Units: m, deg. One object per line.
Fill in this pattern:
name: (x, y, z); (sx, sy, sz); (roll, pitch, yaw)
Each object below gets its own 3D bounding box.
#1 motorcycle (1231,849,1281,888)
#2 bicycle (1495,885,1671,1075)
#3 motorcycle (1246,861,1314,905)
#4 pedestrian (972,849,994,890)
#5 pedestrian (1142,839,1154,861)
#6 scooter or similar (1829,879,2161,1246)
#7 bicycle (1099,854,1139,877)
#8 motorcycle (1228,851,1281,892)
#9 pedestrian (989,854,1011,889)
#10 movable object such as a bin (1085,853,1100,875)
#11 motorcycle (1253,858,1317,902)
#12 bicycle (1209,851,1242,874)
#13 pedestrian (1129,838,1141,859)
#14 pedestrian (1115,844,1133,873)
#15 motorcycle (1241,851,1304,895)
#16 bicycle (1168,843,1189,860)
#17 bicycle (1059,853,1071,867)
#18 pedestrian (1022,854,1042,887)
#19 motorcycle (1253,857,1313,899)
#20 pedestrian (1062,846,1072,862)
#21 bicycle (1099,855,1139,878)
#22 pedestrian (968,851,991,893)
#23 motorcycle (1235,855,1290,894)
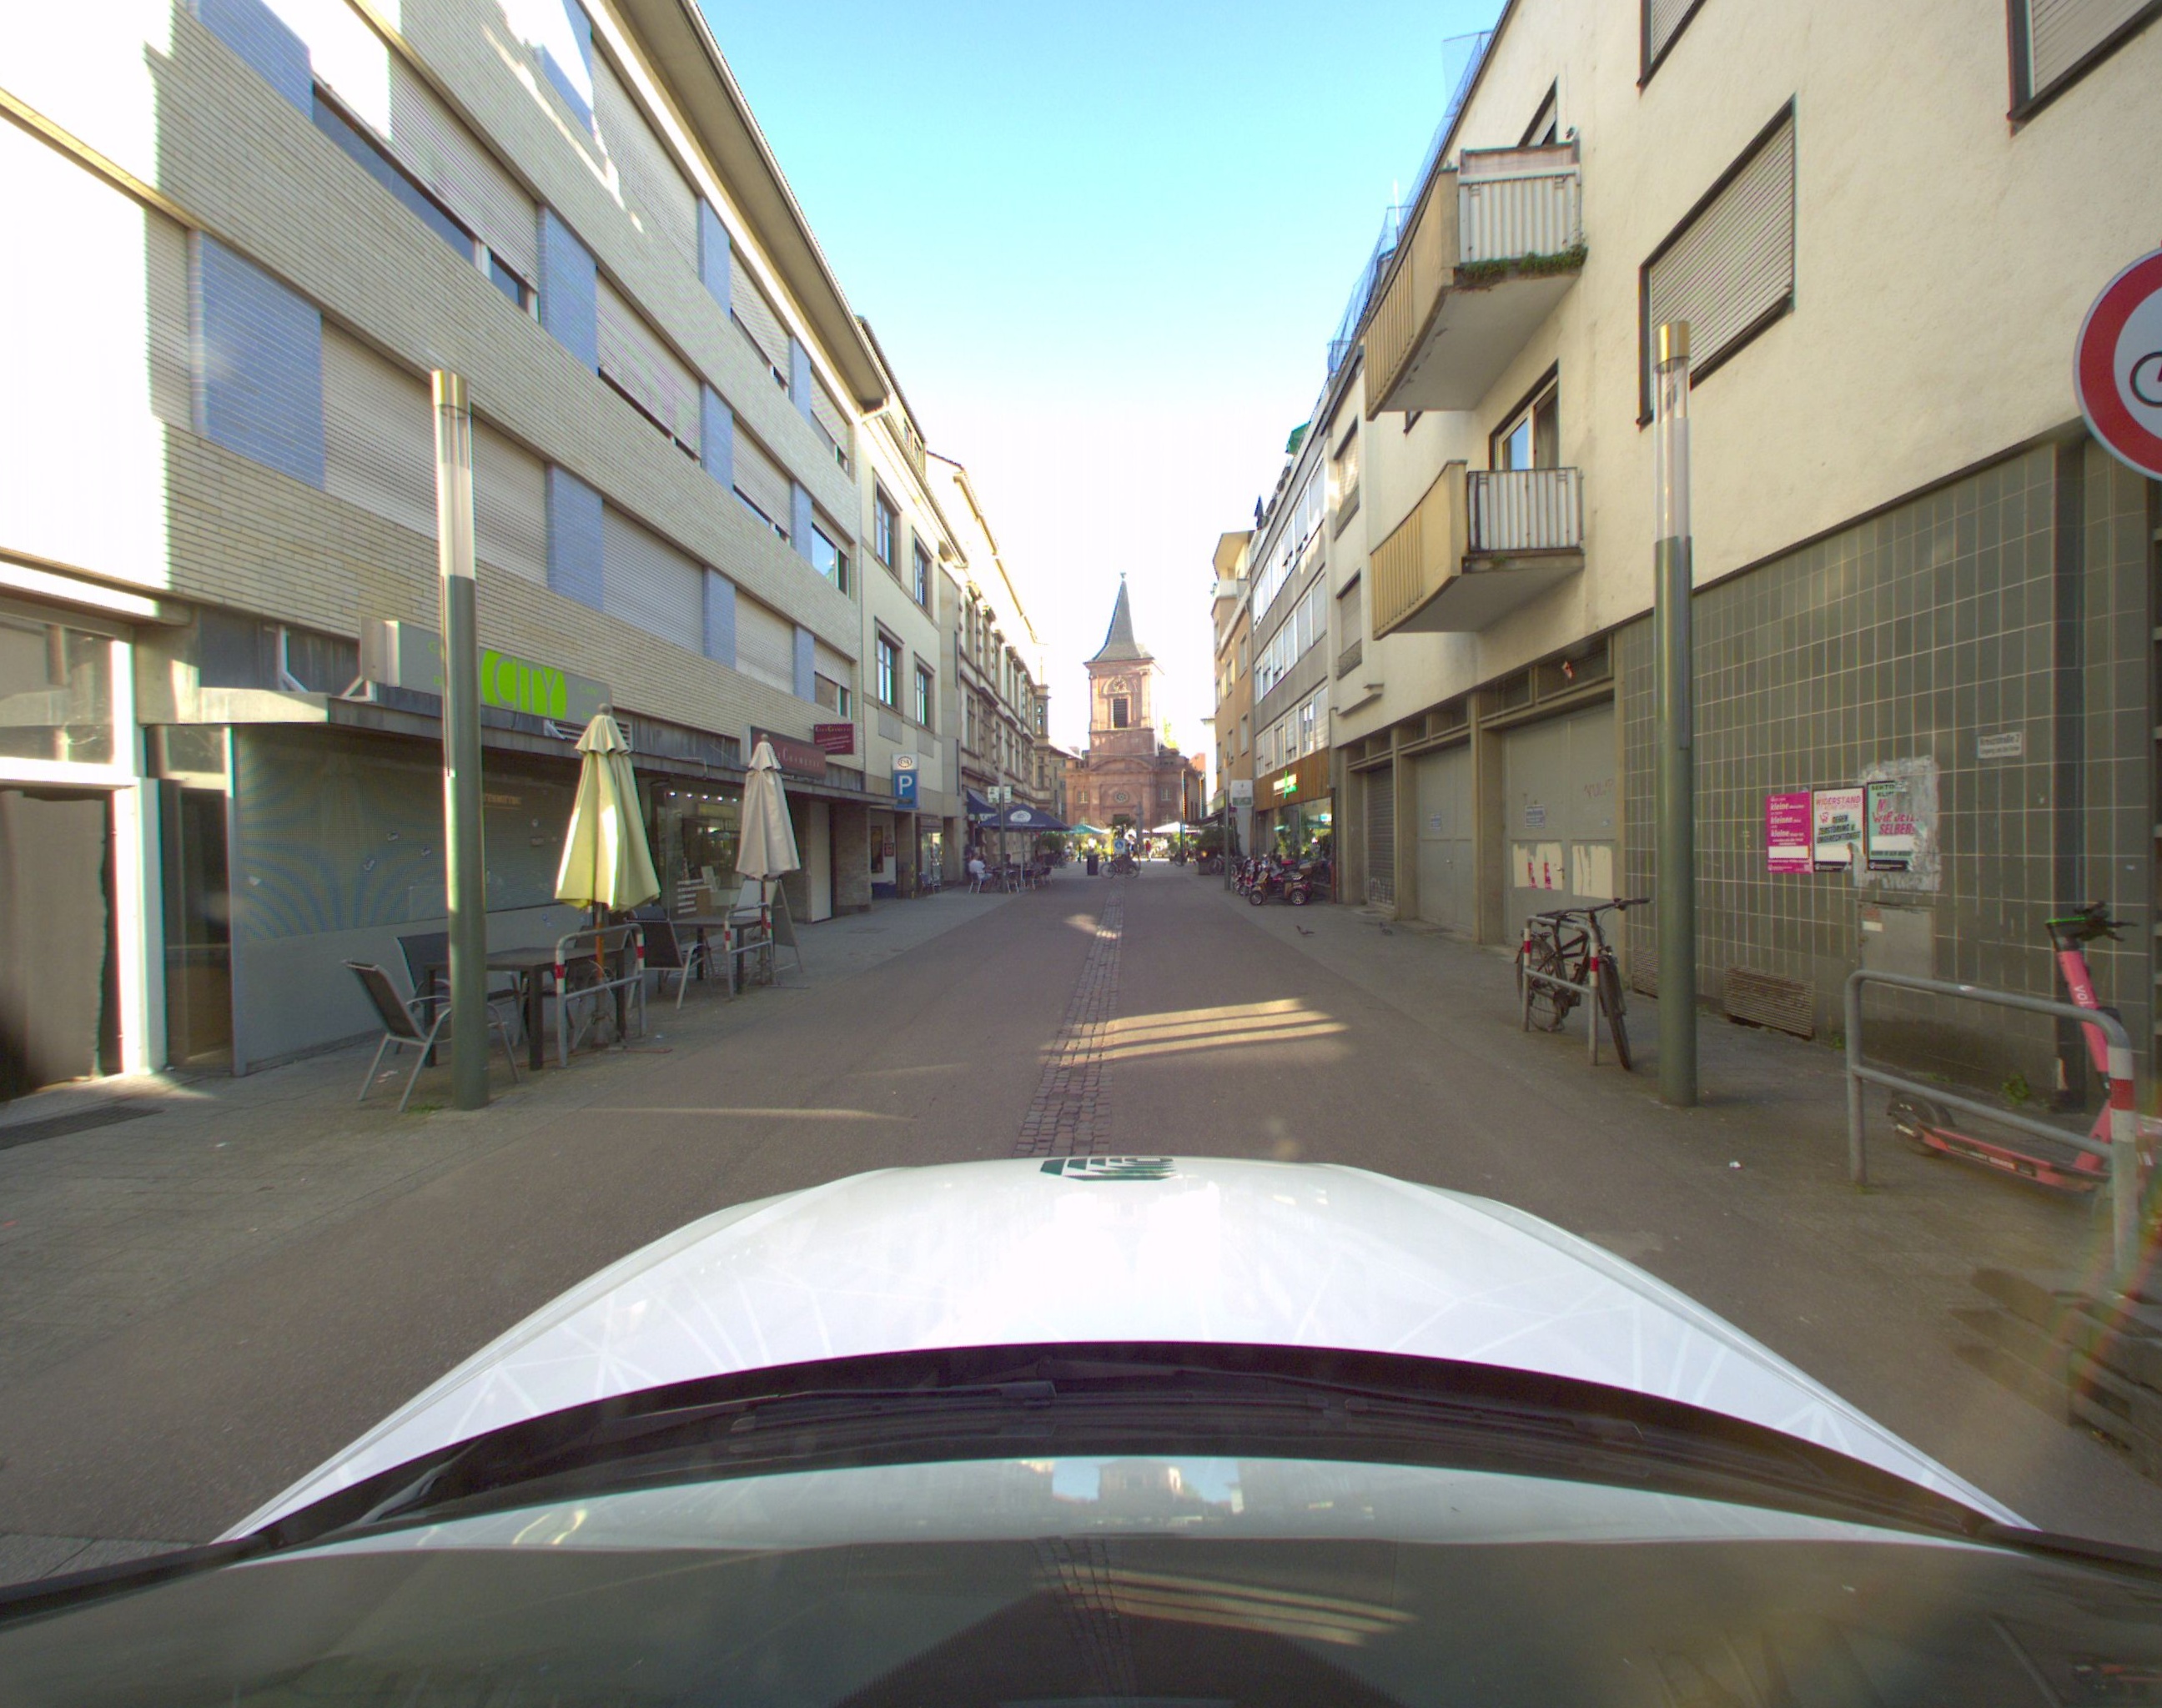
motorcycle: (5.492, 0.460, 25.586); (1.472, 1.181, 0.414); (-2, 0, 18)
bicycle: (3.597, 0.827, 5.992); (0.444, 1.140, 1.714); (-1, -1, 8)
motorcycle: (4.875, 0.719, 19.930); (1.550, 1.041, 0.374); (-2, 0, 21)
pedestrian: (-3.376, 0.536, 28.010); (0.717, 1.368, 0.708); (-1, 1, -9)
pedestrian: (5.270, -0.313, 63.734); (0.616, 1.641, 0.650); (-1, 1, -44)
scooter or similar: (3.964, 0.761, 3.520); (0.306, 1.252, 1.239); (-1, 0, 0)
bicycle: (1.748, 0.522, 37.491); (1.818, 1.005, 0.381); (-1, 0, -1)
motorcycle: (5.227, 0.527, 24.531); (1.472, 1.181, 0.414); (-2, 0, 18)
pedestrian: (-2.939, 0.619, 29.752); (0.763, 1.233, 0.830); (-1, 1, -5)
movable object such as a bin: (0.584, 0.489, 40.419); (0.719, 1.074, 0.374); (-1, 0, 1)
motorcycle: (5.155, 0.660, 20.629); (1.503, 1.075, 0.414); (-2, 0, 21)
bicycle: (6.489, 0.391, 36.535); (1.454, 1.005, 0.574); (-1, 0, 10)
pedestrian: (3.893, -0.397, 58.674); (0.779, 1.555, 0.536); (-1, 0, 7)
pedestrian: (2.202, 0.211, 41.600); (0.880, 1.464, 0.731); (-1, 0, 3)
motorcycle: (5.374, 0.541, 22.861); (1.611, 1.175, 0.483); (-2, 0, 21)
bicycle: (7.496, -0.178, 62.618); (1.594, 1.308, 0.362); (-1, 1, -26)
bicycle: (-0.955, 0.354, 49.548); (0.454, 0.850, 2.150); (-1, 1, 7)
pedestrian: (-1.838, 0.615, 30.419); (0.691, 1.215, 0.582); (-1, 1, -5)
motorcycle: (5.358, 0.651, 21.622); (1.471, 1.075, 0.414); (-2, 0, 21)
pedestrian: (-1.084, 0.010, 63.731); (0.696, 1.218, 0.721); (-1, 0, 9)
bicycle: (1.722, 0.548, 37.081); (1.818, 1.005, 0.381); (-1, 0, -1)
pedestrian: (-3.374, 0.583, 26.949); (0.708, 1.368, 0.718); (-1, 1, -9)
motorcycle: (5.274, 0.592, 23.639); (1.471, 1.075, 0.414); (-2, 0, 21)
